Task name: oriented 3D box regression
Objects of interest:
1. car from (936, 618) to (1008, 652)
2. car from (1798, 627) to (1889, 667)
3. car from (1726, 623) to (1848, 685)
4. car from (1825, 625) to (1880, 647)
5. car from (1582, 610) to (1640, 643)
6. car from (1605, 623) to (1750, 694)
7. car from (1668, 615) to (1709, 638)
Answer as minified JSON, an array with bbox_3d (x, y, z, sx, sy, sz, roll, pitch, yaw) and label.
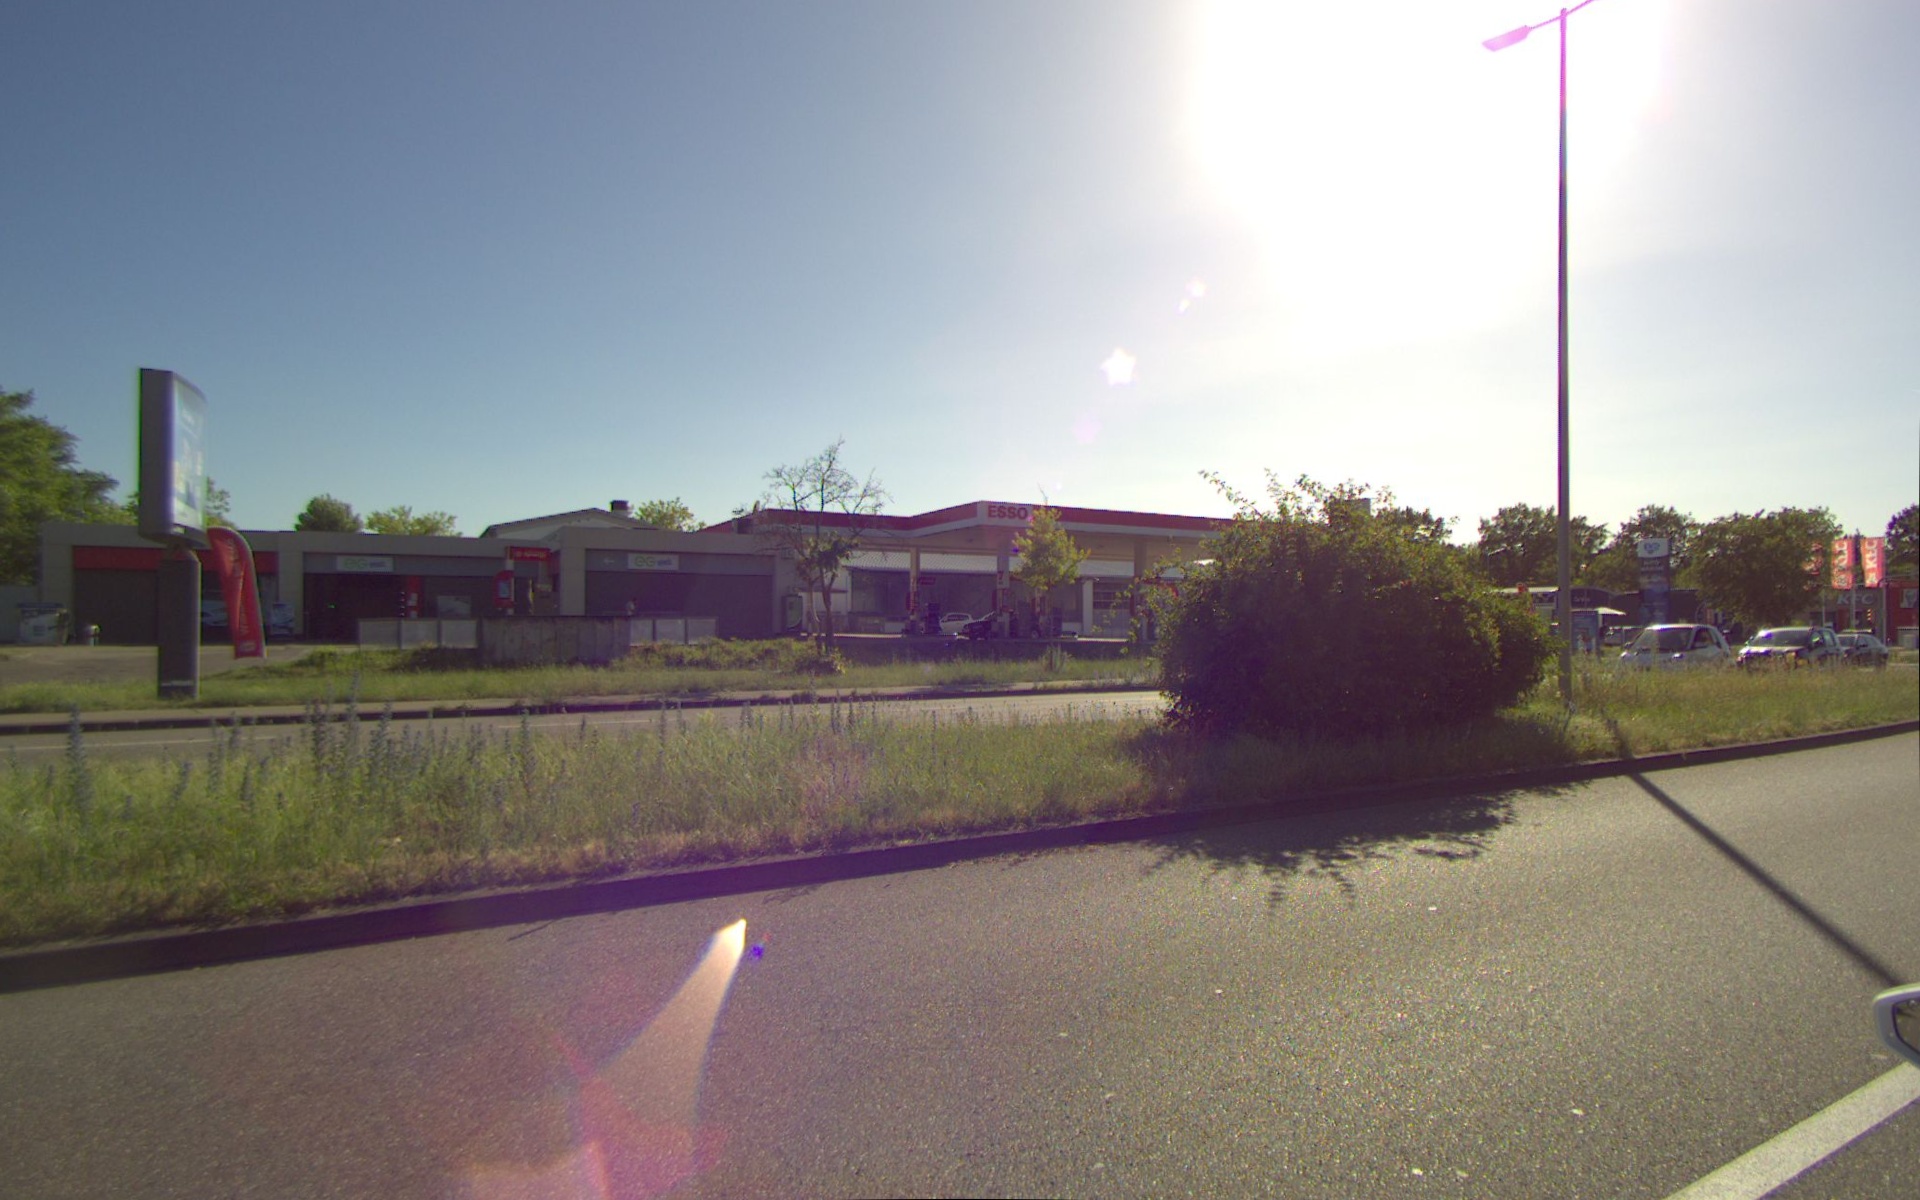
[{"bbox_3d":[0.513,1.619,47.458,1.971,1.494,3.978,1,-1,-23],"label":"car"},{"bbox_3d":[33.744,1.771,38.366,3.628,1.471,1.528,1,-2,-30],"label":"car"},{"bbox_3d":[23.376,1.484,28.374,3.628,1.644,1.528,1,-1,-30],"label":"car"},{"bbox_3d":[75.737,3.035,85.297,1.888,1.806,4.089,0,-1,16],"label":"car"},{"bbox_3d":[44.790,1.804,69.071,3.954,2.239,1.809,1,-1,-31],"label":"car"},{"bbox_3d":[16.730,1.315,23.387,3.445,1.528,1.486,1,-1,-30],"label":"car"},{"bbox_3d":[66.158,2.404,91.260,1.743,2.040,3.796,0,-1,15],"label":"car"}]
